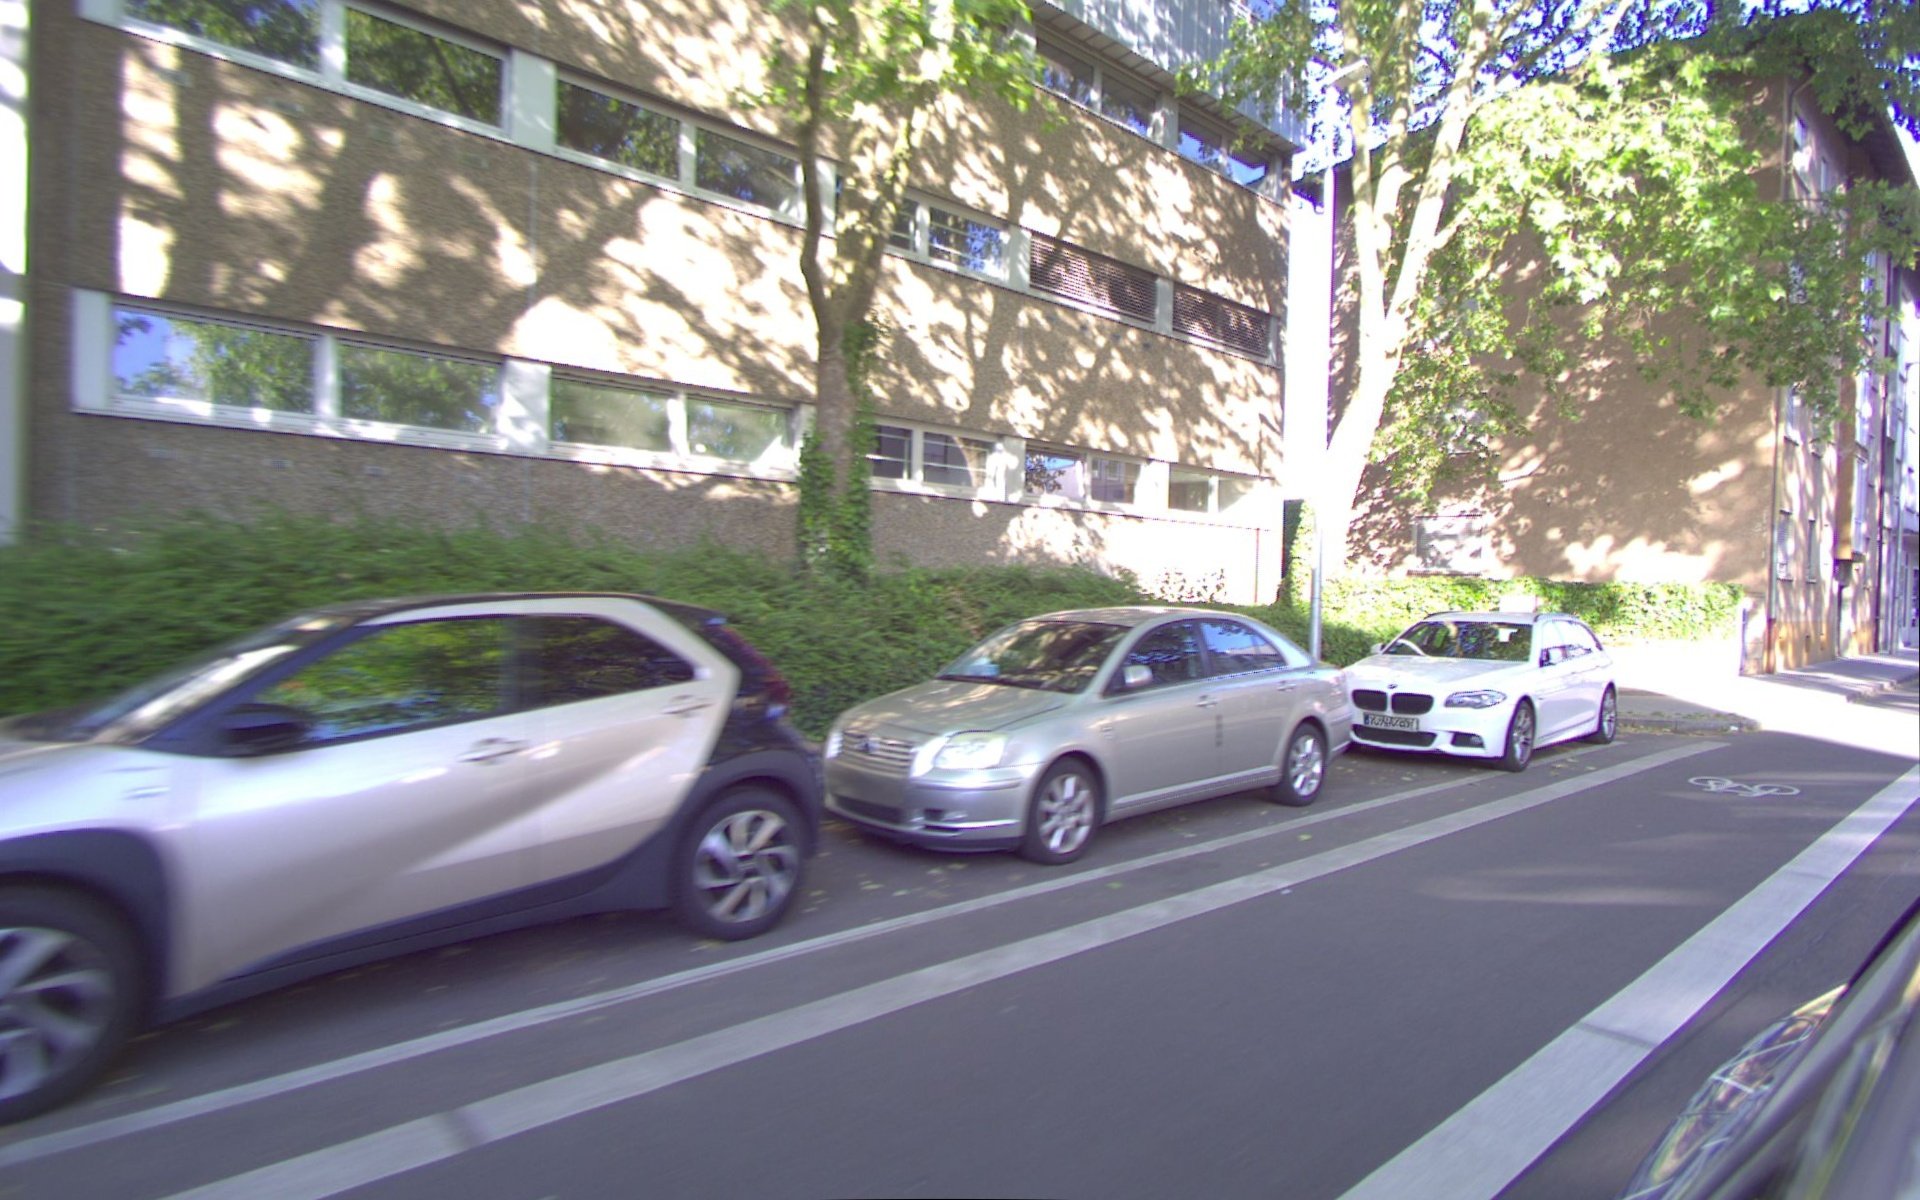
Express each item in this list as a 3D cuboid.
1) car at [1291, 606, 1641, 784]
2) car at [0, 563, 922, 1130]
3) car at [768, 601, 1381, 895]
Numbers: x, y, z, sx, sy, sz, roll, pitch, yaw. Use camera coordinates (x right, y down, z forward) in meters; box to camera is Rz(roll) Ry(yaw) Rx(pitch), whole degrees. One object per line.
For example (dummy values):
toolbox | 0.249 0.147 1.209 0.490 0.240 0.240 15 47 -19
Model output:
car | 5.609 0.815 10.859 4.888 1.455 1.857 1 0 -44
car | -2.373 0.676 4.209 4.222 1.542 1.858 1 -1 -42
car | 1.068 0.763 7.293 4.522 1.455 1.858 1 0 -42
